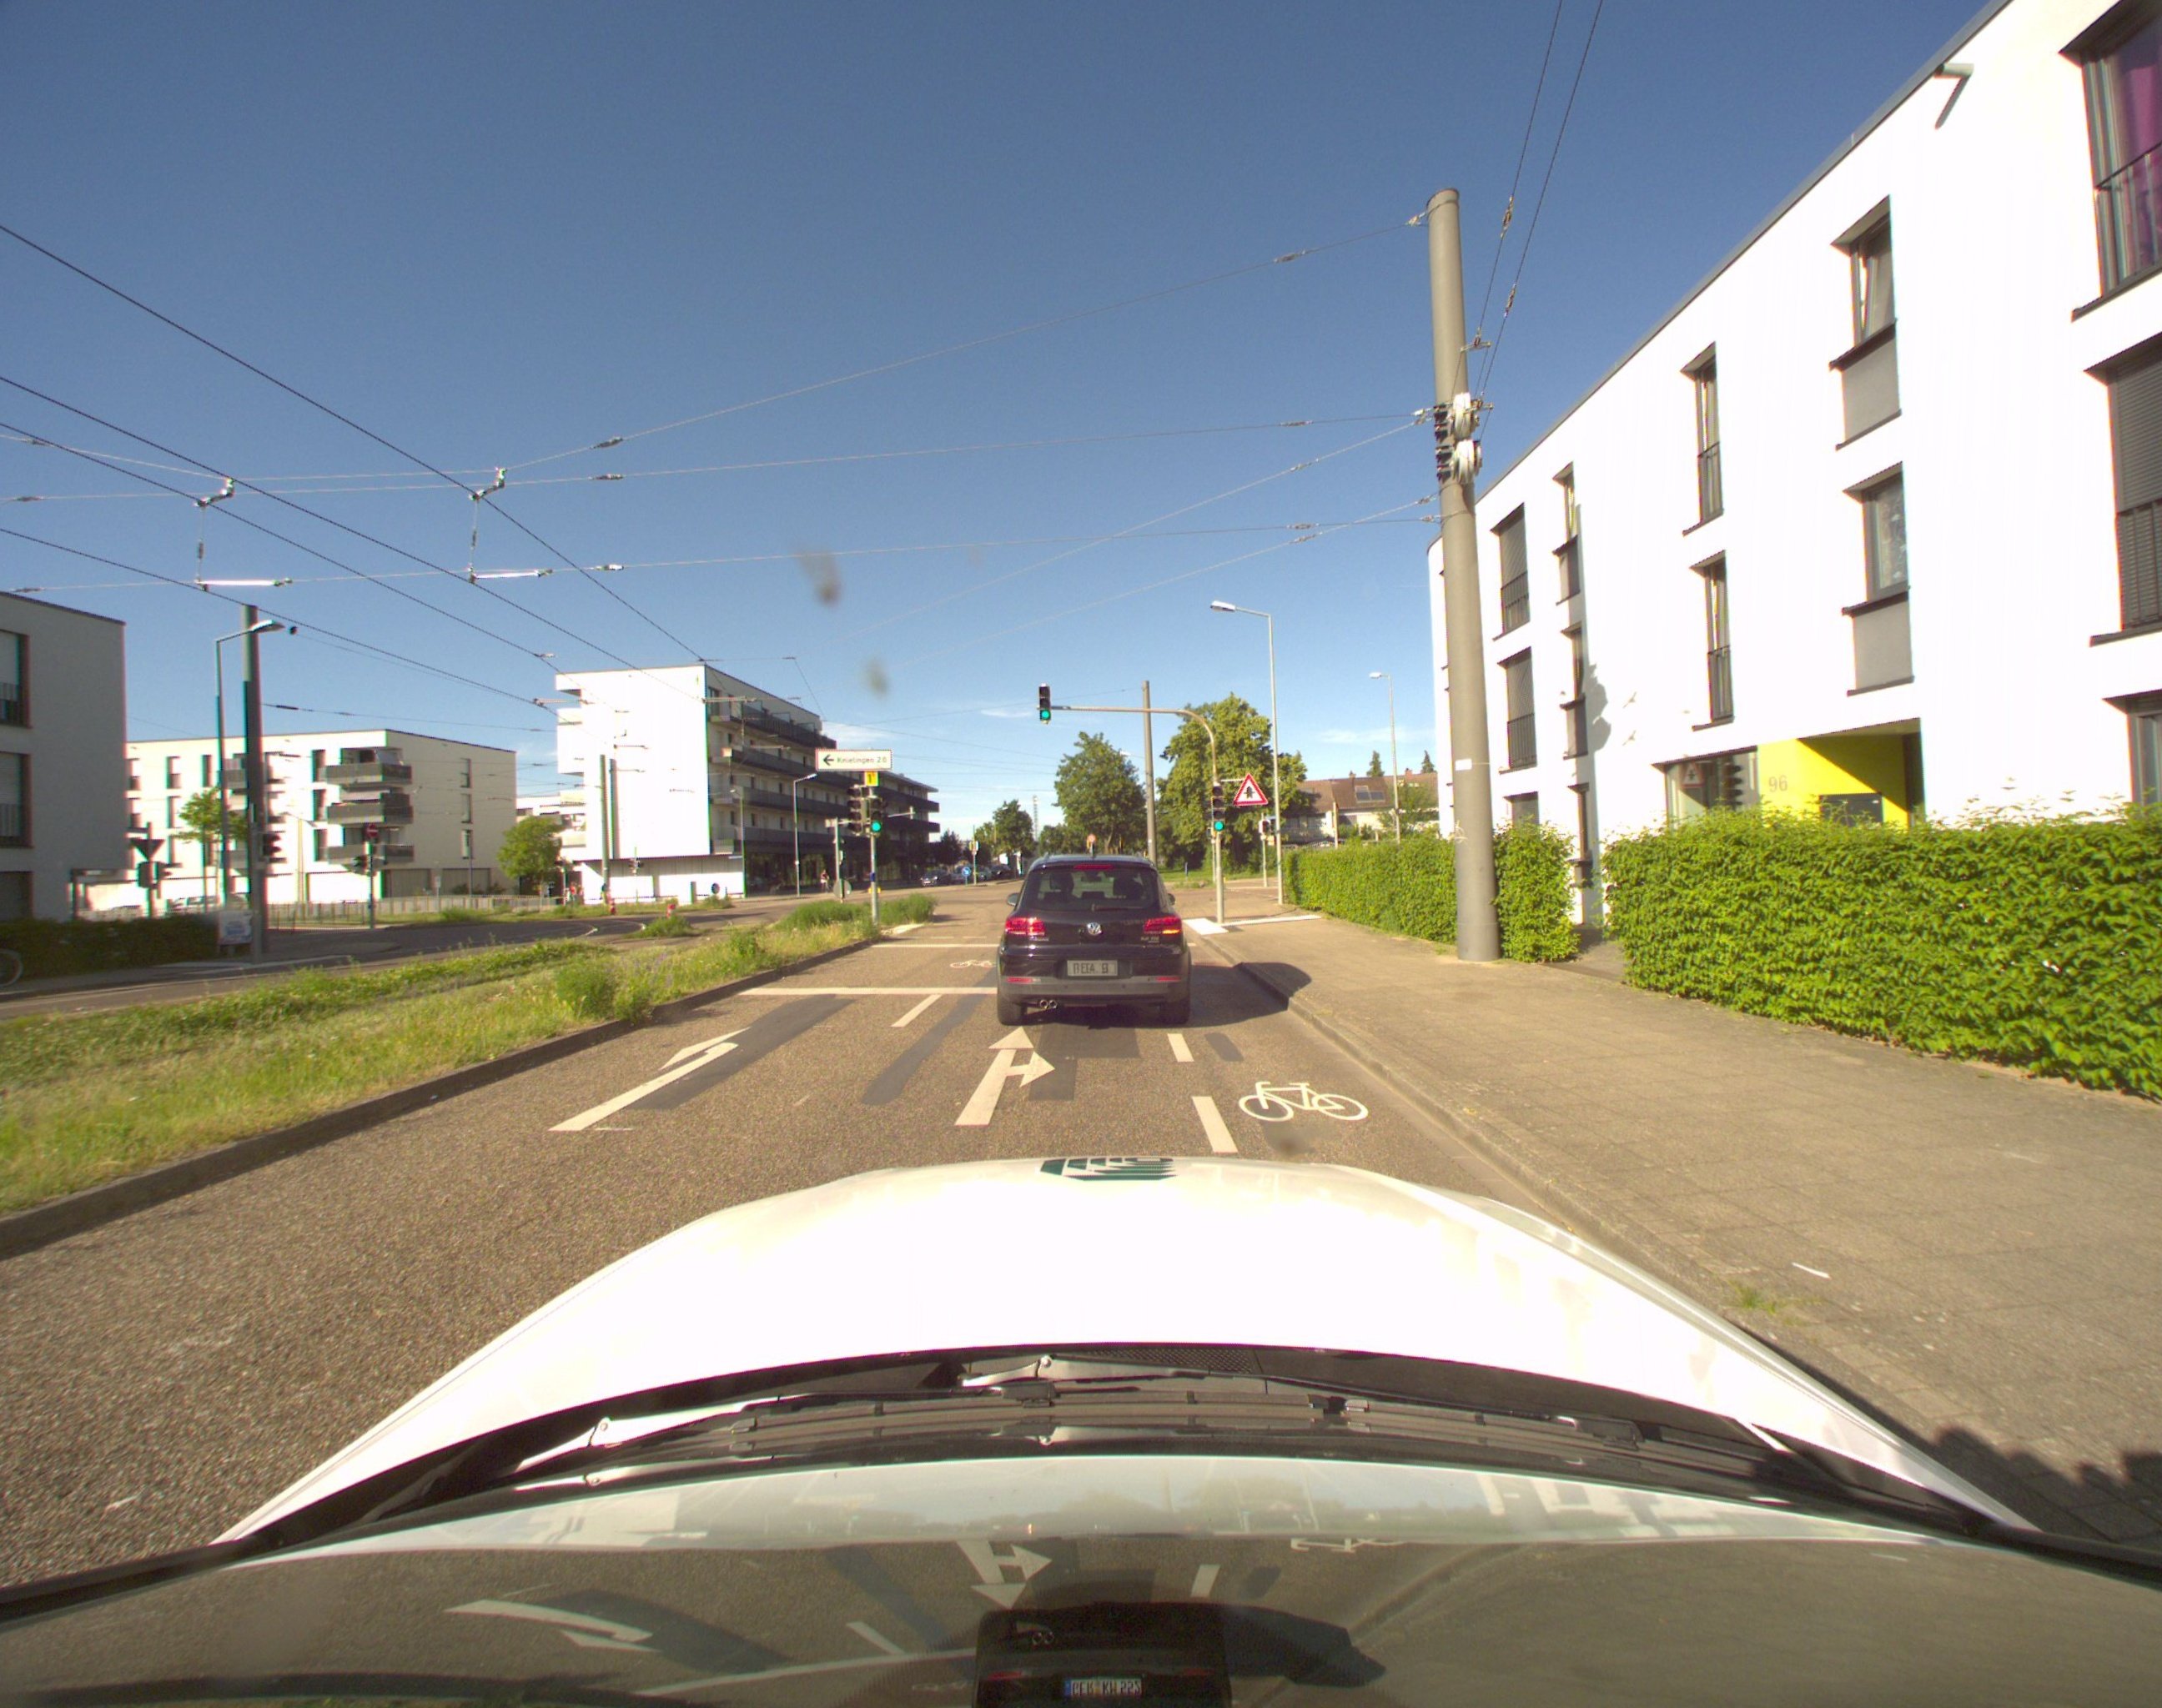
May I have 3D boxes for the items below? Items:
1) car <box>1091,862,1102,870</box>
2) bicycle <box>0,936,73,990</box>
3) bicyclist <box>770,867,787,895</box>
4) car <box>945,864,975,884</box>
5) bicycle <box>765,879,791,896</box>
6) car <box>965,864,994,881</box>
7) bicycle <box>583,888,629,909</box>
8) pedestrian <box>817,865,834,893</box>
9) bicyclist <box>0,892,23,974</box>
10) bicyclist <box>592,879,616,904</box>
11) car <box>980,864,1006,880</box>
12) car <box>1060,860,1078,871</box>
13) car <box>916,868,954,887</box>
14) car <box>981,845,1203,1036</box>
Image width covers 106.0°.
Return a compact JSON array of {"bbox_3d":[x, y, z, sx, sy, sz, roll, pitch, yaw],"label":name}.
[{"bbox_3d":[3.440,2.687,180.460,1.985,1.737,5.205,-3,-1,4],"label":"car"},{"bbox_3d":[-20.442,2.091,14.942,0.898,0.892,2.480,-3,-1,-4],"label":"bicycle"},{"bbox_3d":[-22.300,1.999,60.034,0.801,2.014,0.800,-3,-1,30],"label":"bicyclist"},{"bbox_3d":[-11.511,1.910,77.932,1.985,1.755,4.365,-2,-1,3],"label":"car"},{"bbox_3d":[-22.293,2.434,60.004,0.735,1.144,1.653,-3,-1,30],"label":"bicycle"},{"bbox_3d":[-10.352,1.887,83.336,1.982,1.487,3.552,-5,-1,8],"label":"car"},{"bbox_3d":[-31.106,2.896,53.365,0.895,1.198,2.834,-3,-1,11],"label":"bicycle"},{"bbox_3d":[-19.201,1.867,61.267,0.974,2.014,0.760,-3,-1,-1],"label":"pedestrian"},{"bbox_3d":[-20.473,1.488,15.013,0.887,1.490,0.745,-3,-1,-5],"label":"bicyclist"},{"bbox_3d":[-31.159,2.444,53.217,0.887,1.592,0.916,-3,-1,10],"label":"bicyclist"},{"bbox_3d":[-9.589,1.946,89.013,1.958,1.534,4.745,-3,-1,4],"label":"car"},{"bbox_3d":[-1.859,1.852,126.810,1.981,1.571,4.011,-3,-1,10],"label":"car"},{"bbox_3d":[-12.465,2.011,69.957,1.685,1.456,4.465,-3,-1,10],"label":"car"},{"bbox_3d":[0.121,0.773,9.319,1.923,1.654,4.514,0,-1,1],"label":"car"}]
